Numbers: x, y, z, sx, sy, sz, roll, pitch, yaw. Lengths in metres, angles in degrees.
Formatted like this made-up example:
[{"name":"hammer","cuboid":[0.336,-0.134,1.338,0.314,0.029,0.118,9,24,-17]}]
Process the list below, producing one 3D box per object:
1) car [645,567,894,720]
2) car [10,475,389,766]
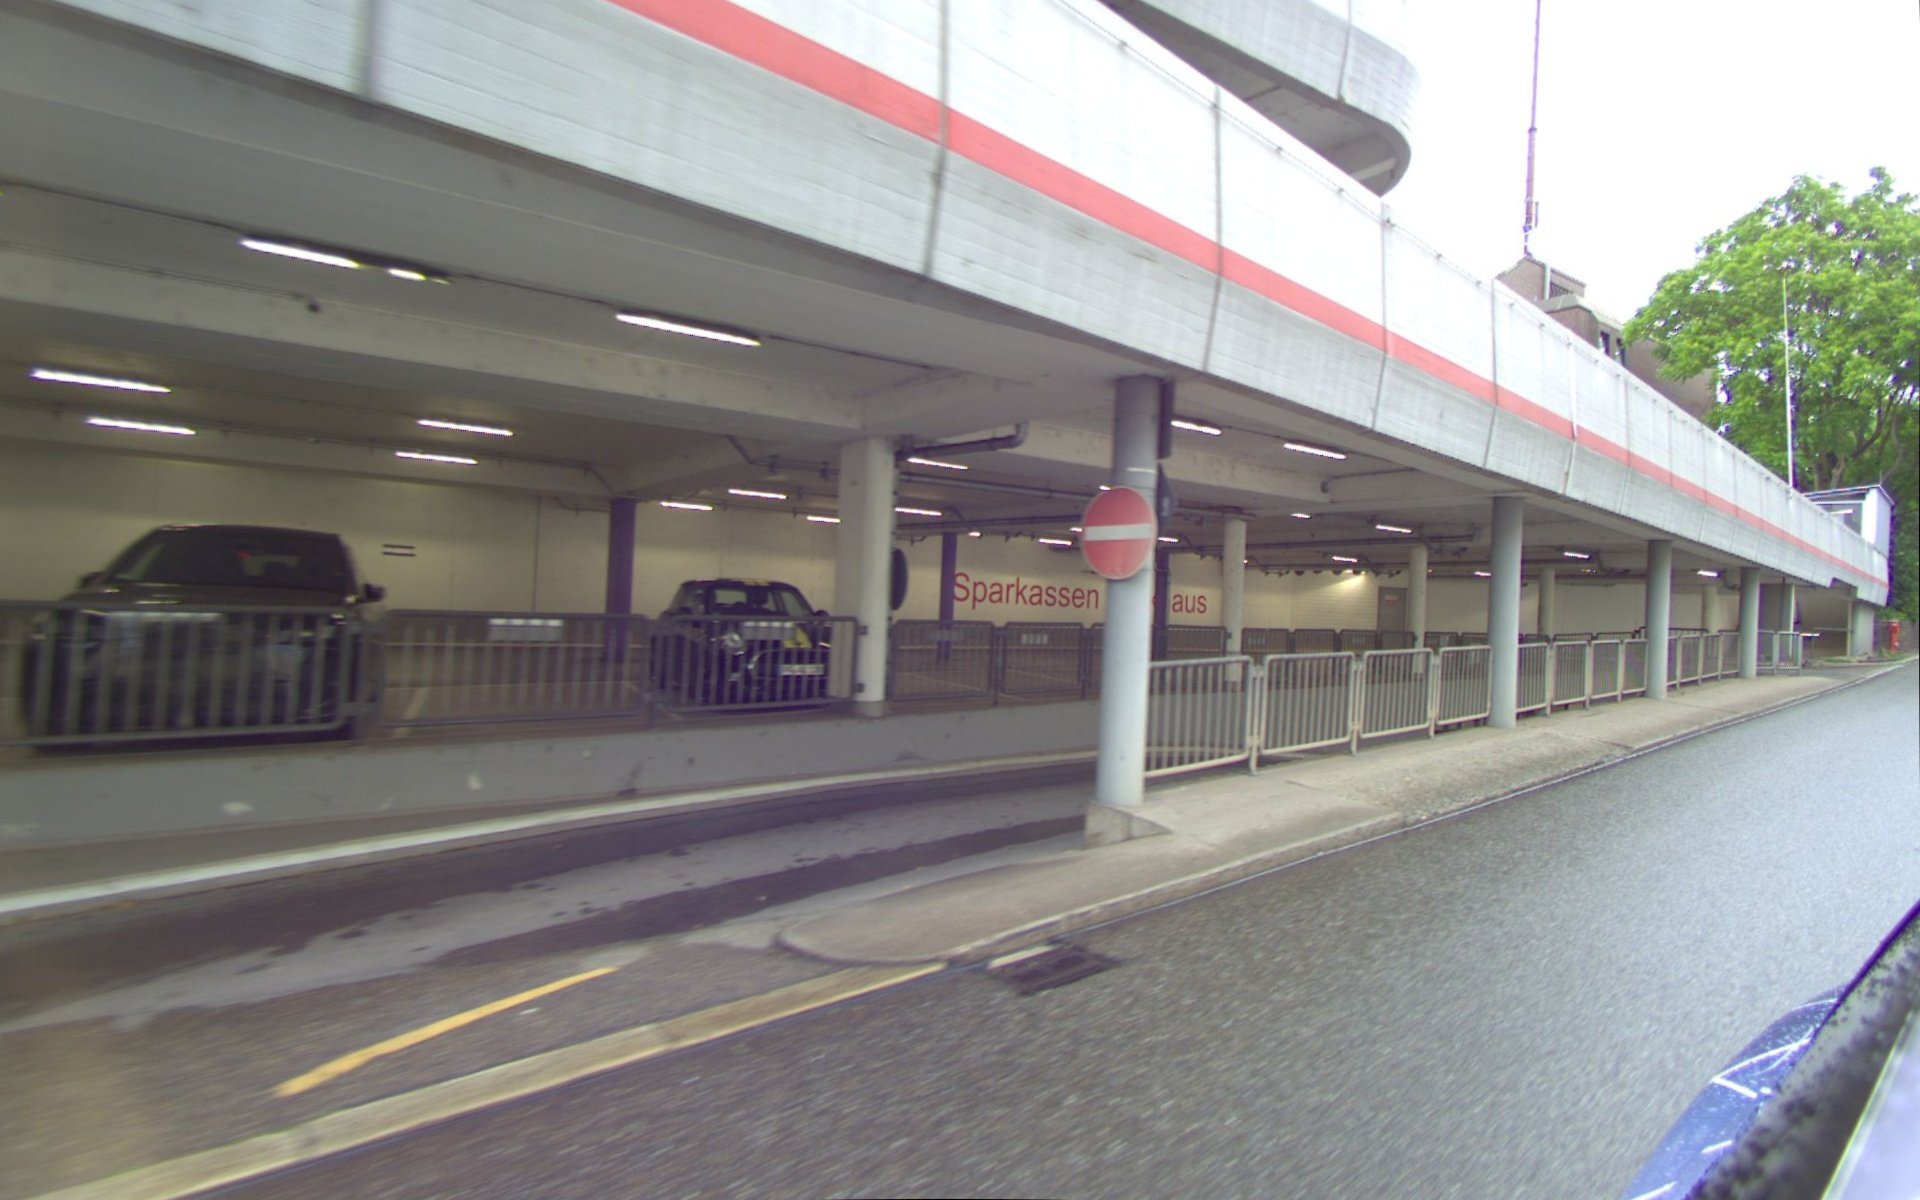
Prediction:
[{"name":"car","cuboid":[-2.436,0.414,12.191,1.770,1.524,3.740,3,0,-30]},{"name":"car","cuboid":[-5.728,0.126,8.228,1.785,1.661,4.596,-1,0,-28]}]
